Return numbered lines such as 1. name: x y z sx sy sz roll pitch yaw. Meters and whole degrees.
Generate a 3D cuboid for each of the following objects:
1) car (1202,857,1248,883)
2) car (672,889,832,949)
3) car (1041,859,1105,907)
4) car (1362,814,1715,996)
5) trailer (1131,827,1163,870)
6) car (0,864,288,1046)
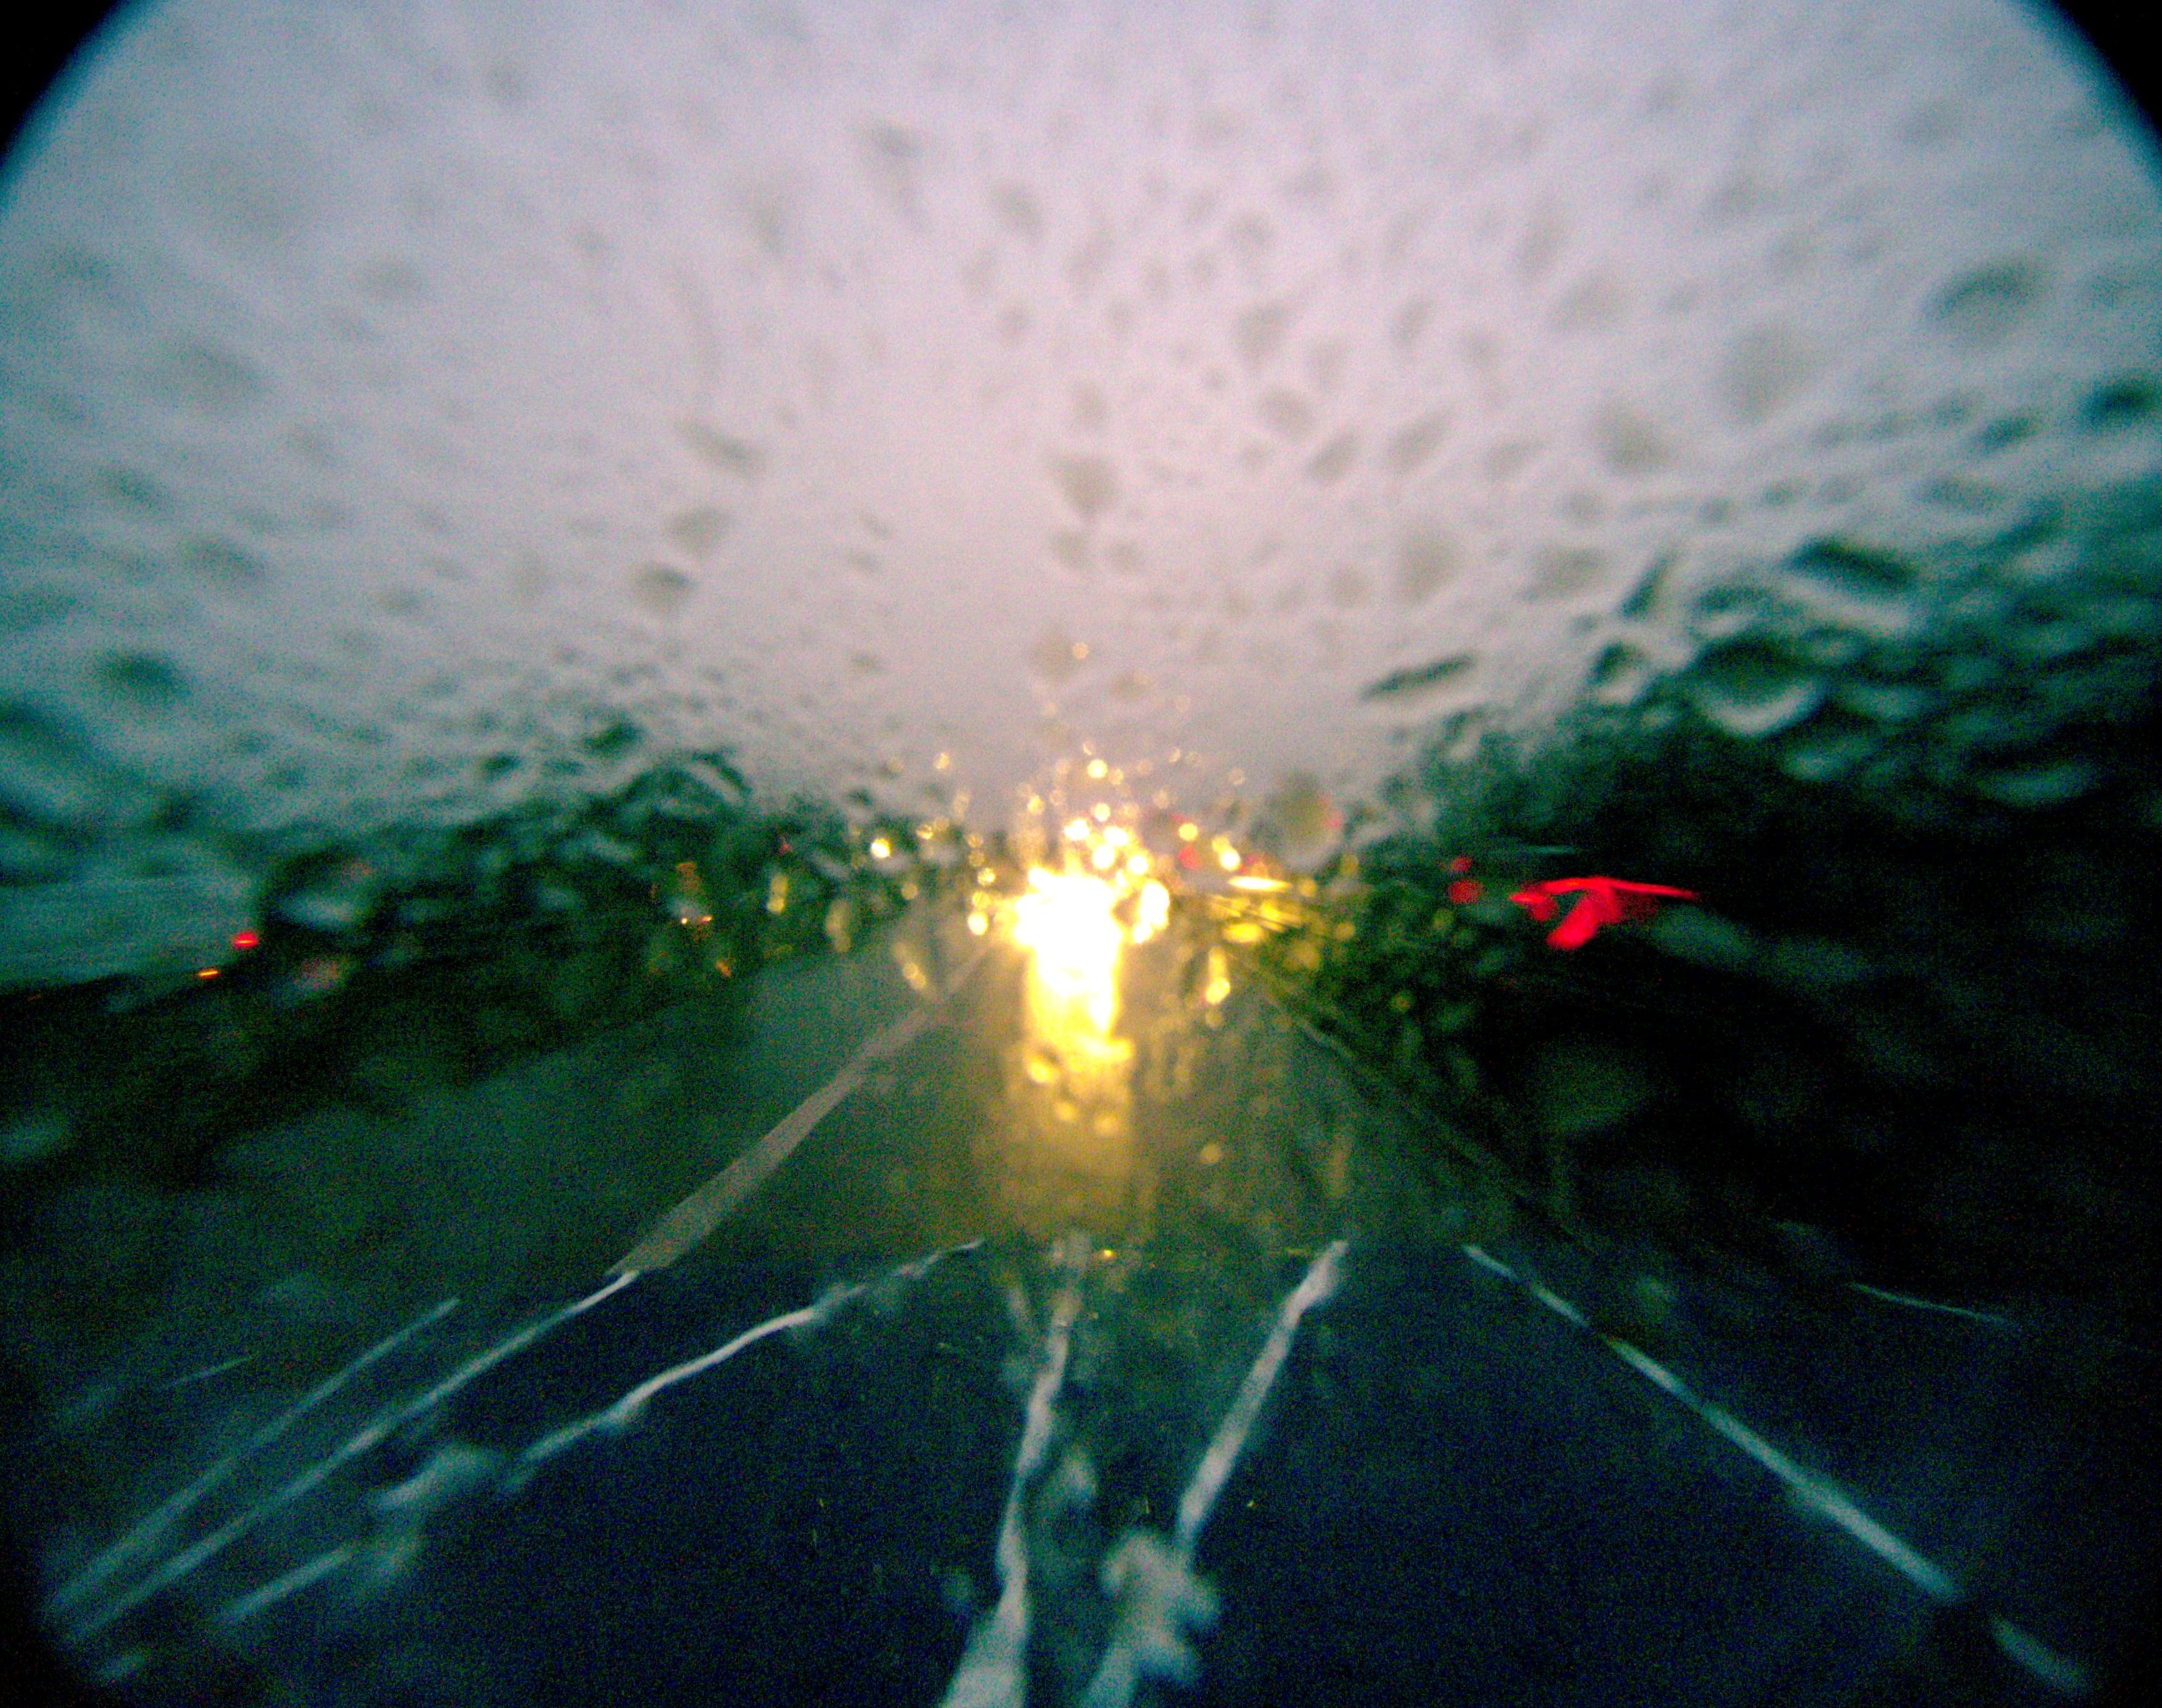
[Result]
1. car: 9.458 1.081 50.197 2.099 1.583 4.479 -2 -2 -1
2. car: -10.354 2.012 24.250 1.738 1.406 4.385 -5 -1 32
3. car: -0.194 0.965 26.698 1.886 1.513 4.002 -2 -1 4
4. car: 6.373 0.590 11.521 1.999 2.002 4.997 -5 1 -3
5. trailer: 7.569 -0.605 88.914 2.634 4.558 13.324 -2 0 1
6. car: -19.804 1.974 14.283 6.400 2.948 2.284 -5 0 -42
